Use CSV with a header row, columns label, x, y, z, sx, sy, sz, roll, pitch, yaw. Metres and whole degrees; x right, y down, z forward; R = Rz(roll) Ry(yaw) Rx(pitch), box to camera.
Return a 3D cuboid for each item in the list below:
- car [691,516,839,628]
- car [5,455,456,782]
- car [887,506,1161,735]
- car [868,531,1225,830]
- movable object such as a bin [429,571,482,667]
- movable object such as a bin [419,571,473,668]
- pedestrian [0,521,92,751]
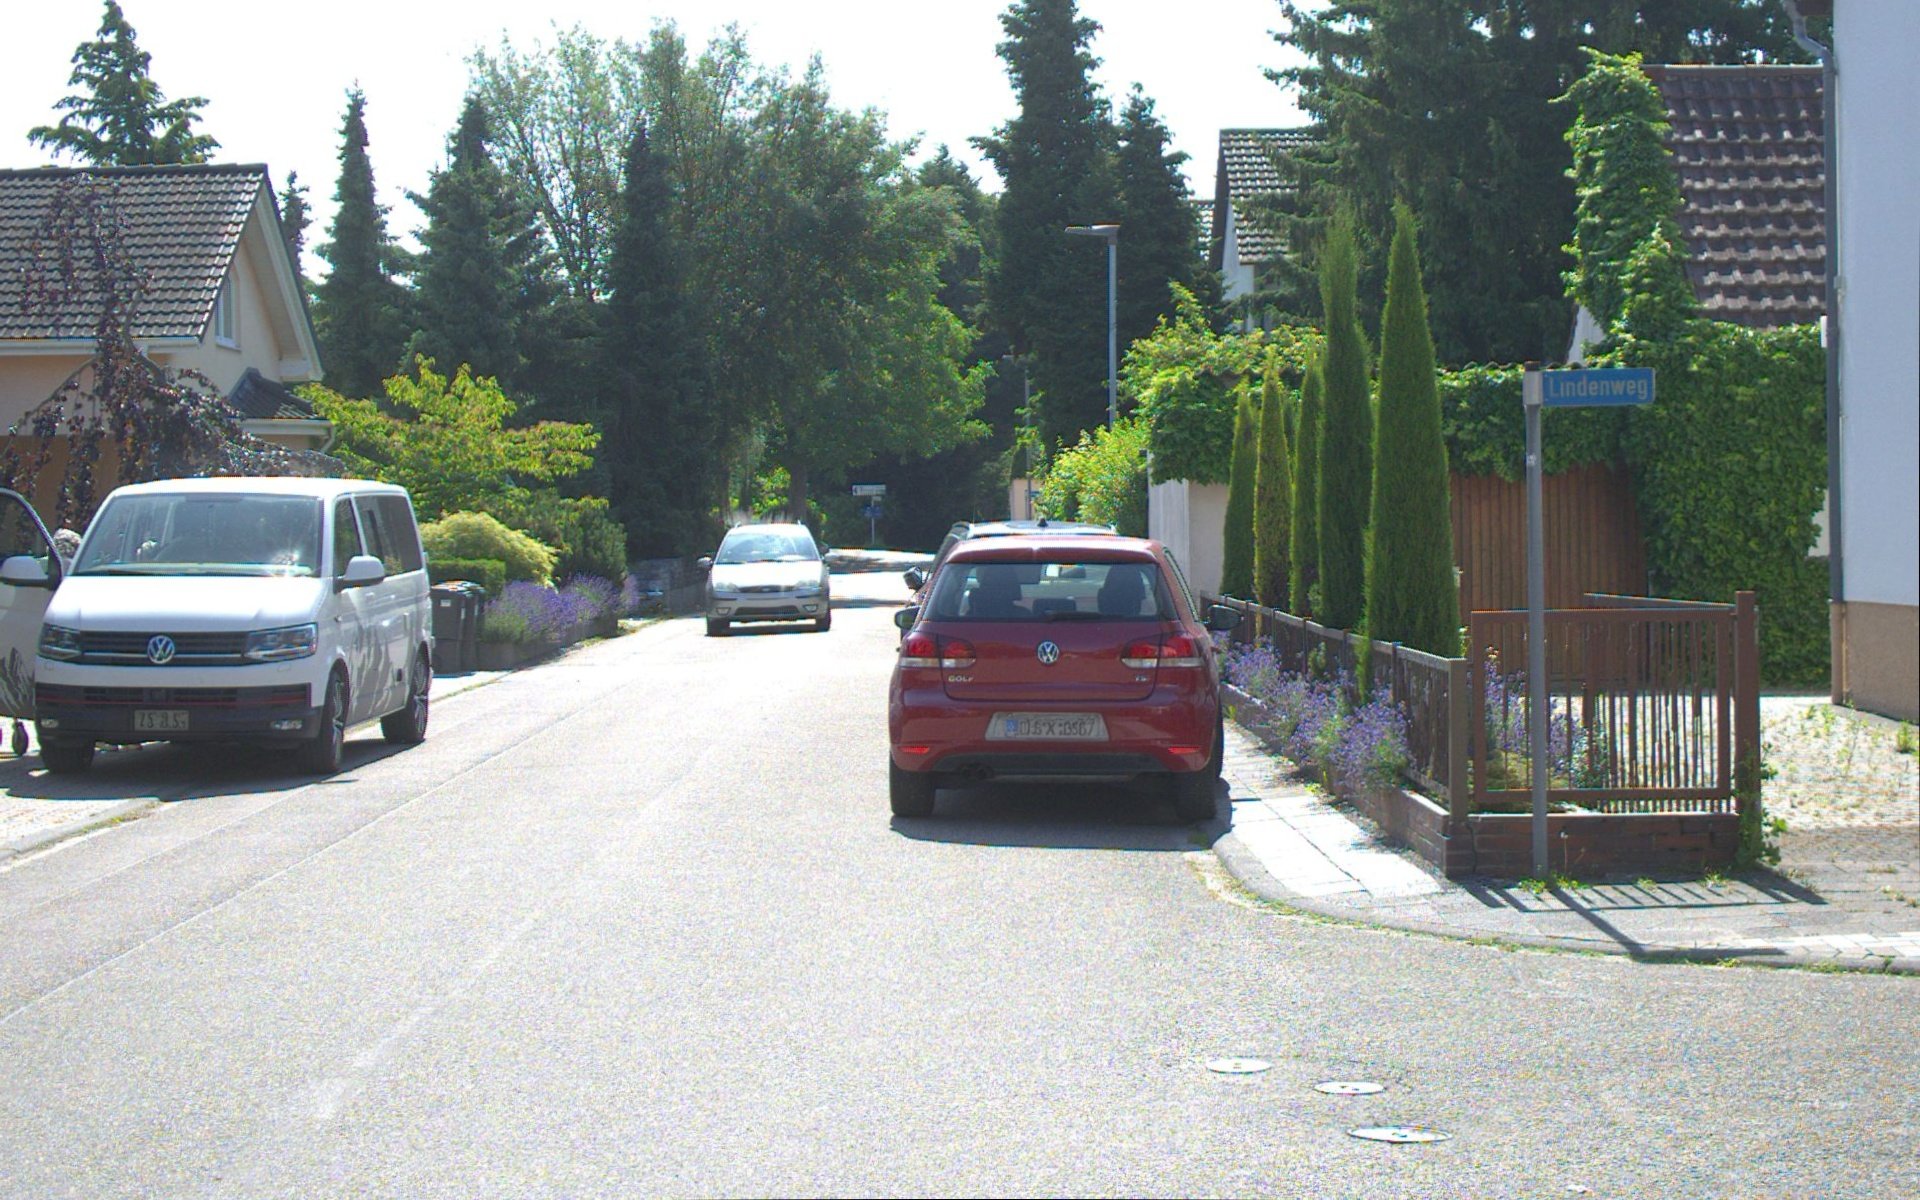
label,x,y,z,sx,sy,sz,roll,pitch,yaw
car,-2.709,-0.425,48.592,1.752,1.482,4.376,-1,1,1
car,-4.881,0.064,23.745,1.929,2.007,4.896,-1,1,2
car,0.410,0.104,26.175,1.822,1.610,4.001,0,1,-3
car,0.550,0.363,19.375,1.775,1.474,4.000,1,1,3
movable object such as a bin,-5.482,0.200,37.372,0.494,1.021,0.447,-1,1,0
movable object such as a bin,-5.511,0.205,36.863,0.494,1.021,0.447,-1,1,0
pedestrian,-6.442,0.232,23.538,0.718,1.533,0.641,1,2,33
